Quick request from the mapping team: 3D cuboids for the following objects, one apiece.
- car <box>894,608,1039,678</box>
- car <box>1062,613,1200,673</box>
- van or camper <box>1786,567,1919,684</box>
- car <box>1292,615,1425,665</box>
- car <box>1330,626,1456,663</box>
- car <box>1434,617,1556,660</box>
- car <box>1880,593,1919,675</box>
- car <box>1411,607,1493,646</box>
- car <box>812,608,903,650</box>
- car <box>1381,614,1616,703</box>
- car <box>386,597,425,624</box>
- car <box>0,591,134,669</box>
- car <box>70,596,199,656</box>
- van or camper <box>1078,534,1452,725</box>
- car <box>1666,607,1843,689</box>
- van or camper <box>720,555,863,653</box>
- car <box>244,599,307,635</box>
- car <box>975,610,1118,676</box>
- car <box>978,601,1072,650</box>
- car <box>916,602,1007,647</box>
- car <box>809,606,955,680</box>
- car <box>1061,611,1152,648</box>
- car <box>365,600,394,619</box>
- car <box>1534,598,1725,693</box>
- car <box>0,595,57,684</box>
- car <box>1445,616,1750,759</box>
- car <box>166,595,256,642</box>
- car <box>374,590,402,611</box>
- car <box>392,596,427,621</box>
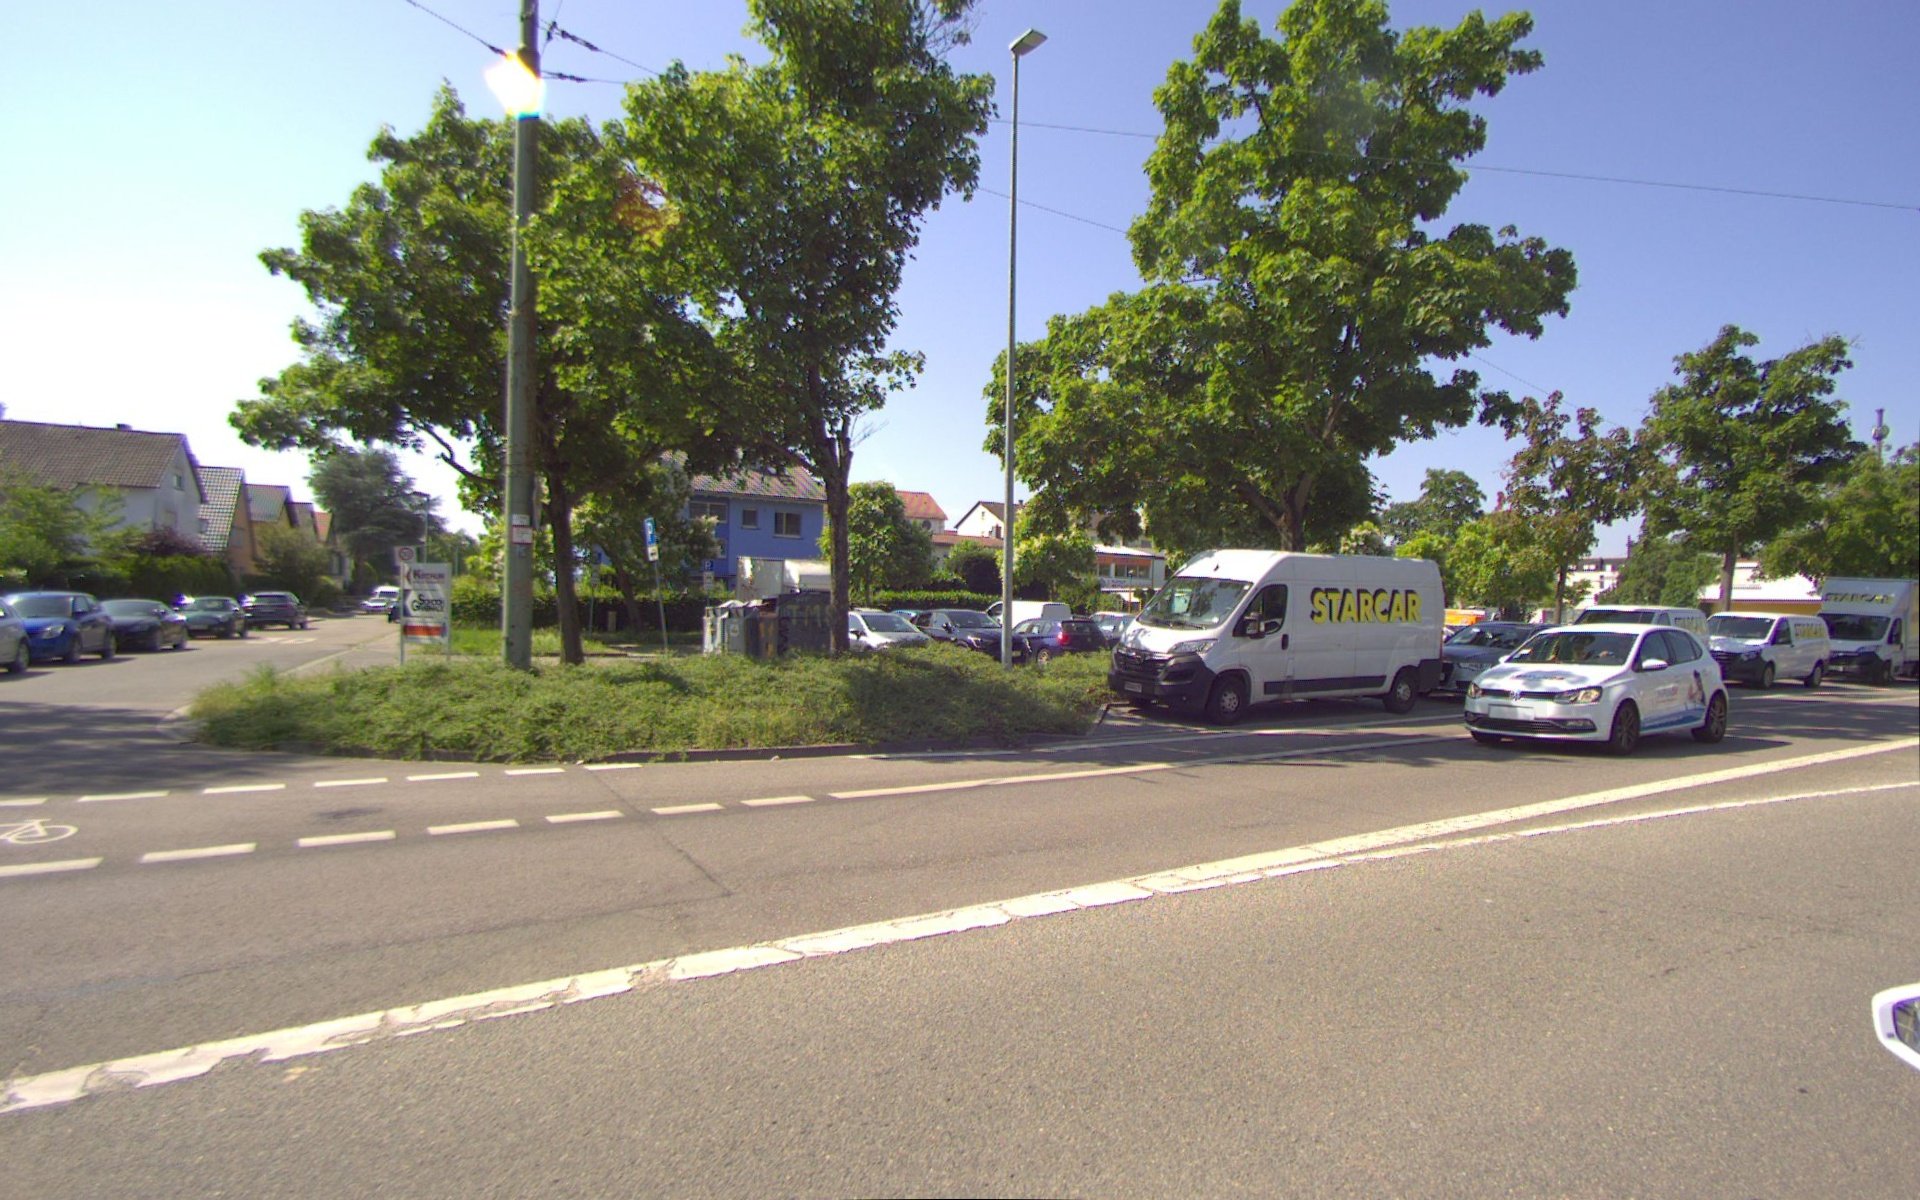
[{"bbox_3d":[0.074,1.013,25.009,1.647,1.564,3.962,2,-1,-34],"label":"car"},{"bbox_3d":[4.800,1.180,28.667,1.646,1.564,3.963,2,-1,-33],"label":"car"},{"bbox_3d":[28.223,0.761,30.935,6.697,3.285,2.183,1,2,-32],"label":"van or camper"},{"bbox_3d":[13.472,1.328,34.147,1.646,1.564,3.963,2,-1,-33],"label":"car"},{"bbox_3d":[15.249,1.551,35.542,1.646,1.169,3.865,2,-1,-33],"label":"car"},{"bbox_3d":[21.139,1.515,39.826,1.646,1.564,3.963,2,-1,-33],"label":"car"},{"bbox_3d":[34.770,1.225,35.247,6.015,2.704,2.183,1,2,-33],"label":"car"},{"bbox_3d":[29.319,1.561,59.932,1.893,2.229,3.959,1,-1,-36],"label":"car"},{"bbox_3d":[-3.920,1.074,37.837,1.686,1.455,3.960,1,-1,-35],"label":"car"},{"bbox_3d":[10.354,1.058,19.187,4.834,1.474,1.920,1,-1,-34],"label":"car"},{"bbox_3d":[-33.481,0.623,60.595,1.977,1.506,3.968,1,-1,-30],"label":"car"},{"bbox_3d":[-19.680,0.615,21.818,1.784,1.545,3.973,2,-1,-26],"label":"car"},{"bbox_3d":[-21.873,0.671,26.780,1.742,1.476,3.973,2,-1,-26],"label":"car"},{"bbox_3d":[4.965,0.457,15.923,6.079,2.548,2.245,1,-1,-32],"label":"van or camper"},{"bbox_3d":[21.077,1.226,26.591,5.129,1.966,2.183,1,-1,-33],"label":"car"},{"bbox_3d":[-6.420,0.145,37.354,2.556,3.288,6.905,1,-1,-35],"label":"van or camper"},{"bbox_3d":[-30.146,0.738,44.340,1.742,1.476,3.973,2,-1,-26],"label":"car"},{"bbox_3d":[2.211,1.092,26.599,1.647,1.564,3.962,2,-1,-34],"label":"car"},{"bbox_3d":[2.624,1.003,41.313,1.768,1.916,3.959,1,-1,-36],"label":"car"},{"bbox_3d":[0.004,0.978,41.010,1.719,1.751,3.959,1,-1,-36],"label":"car"},{"bbox_3d":[-1.917,0.949,23.511,1.647,1.564,3.962,2,-1,-34],"label":"car"},{"bbox_3d":[6.486,1.296,44.902,1.768,1.564,3.959,1,-1,-36],"label":"car"},{"bbox_3d":[-49.674,0.780,85.989,1.719,1.550,3.892,1,-1,-24],"label":"car"},{"bbox_3d":[15.630,1.005,23.350,5.138,1.966,2.179,2,-1,-38],"label":"car"},{"bbox_3d":[-17.493,0.658,17.258,1.783,1.545,3.976,2,-1,-24],"label":"car"},{"bbox_3d":[7.828,0.966,12.248,3.959,1.484,1.717,1,-2,-34],"label":"car"},{"bbox_3d":[-25.708,0.624,34.594,1.742,1.476,3.973,2,-1,-26],"label":"car"},{"bbox_3d":[-57.248,0.019,100.627,1.972,2.040,3.977,1,-1,-24],"label":"car"},{"bbox_3d":[-36.928,0.558,67.371,1.977,1.649,3.968,1,-1,-30],"label":"car"}]
